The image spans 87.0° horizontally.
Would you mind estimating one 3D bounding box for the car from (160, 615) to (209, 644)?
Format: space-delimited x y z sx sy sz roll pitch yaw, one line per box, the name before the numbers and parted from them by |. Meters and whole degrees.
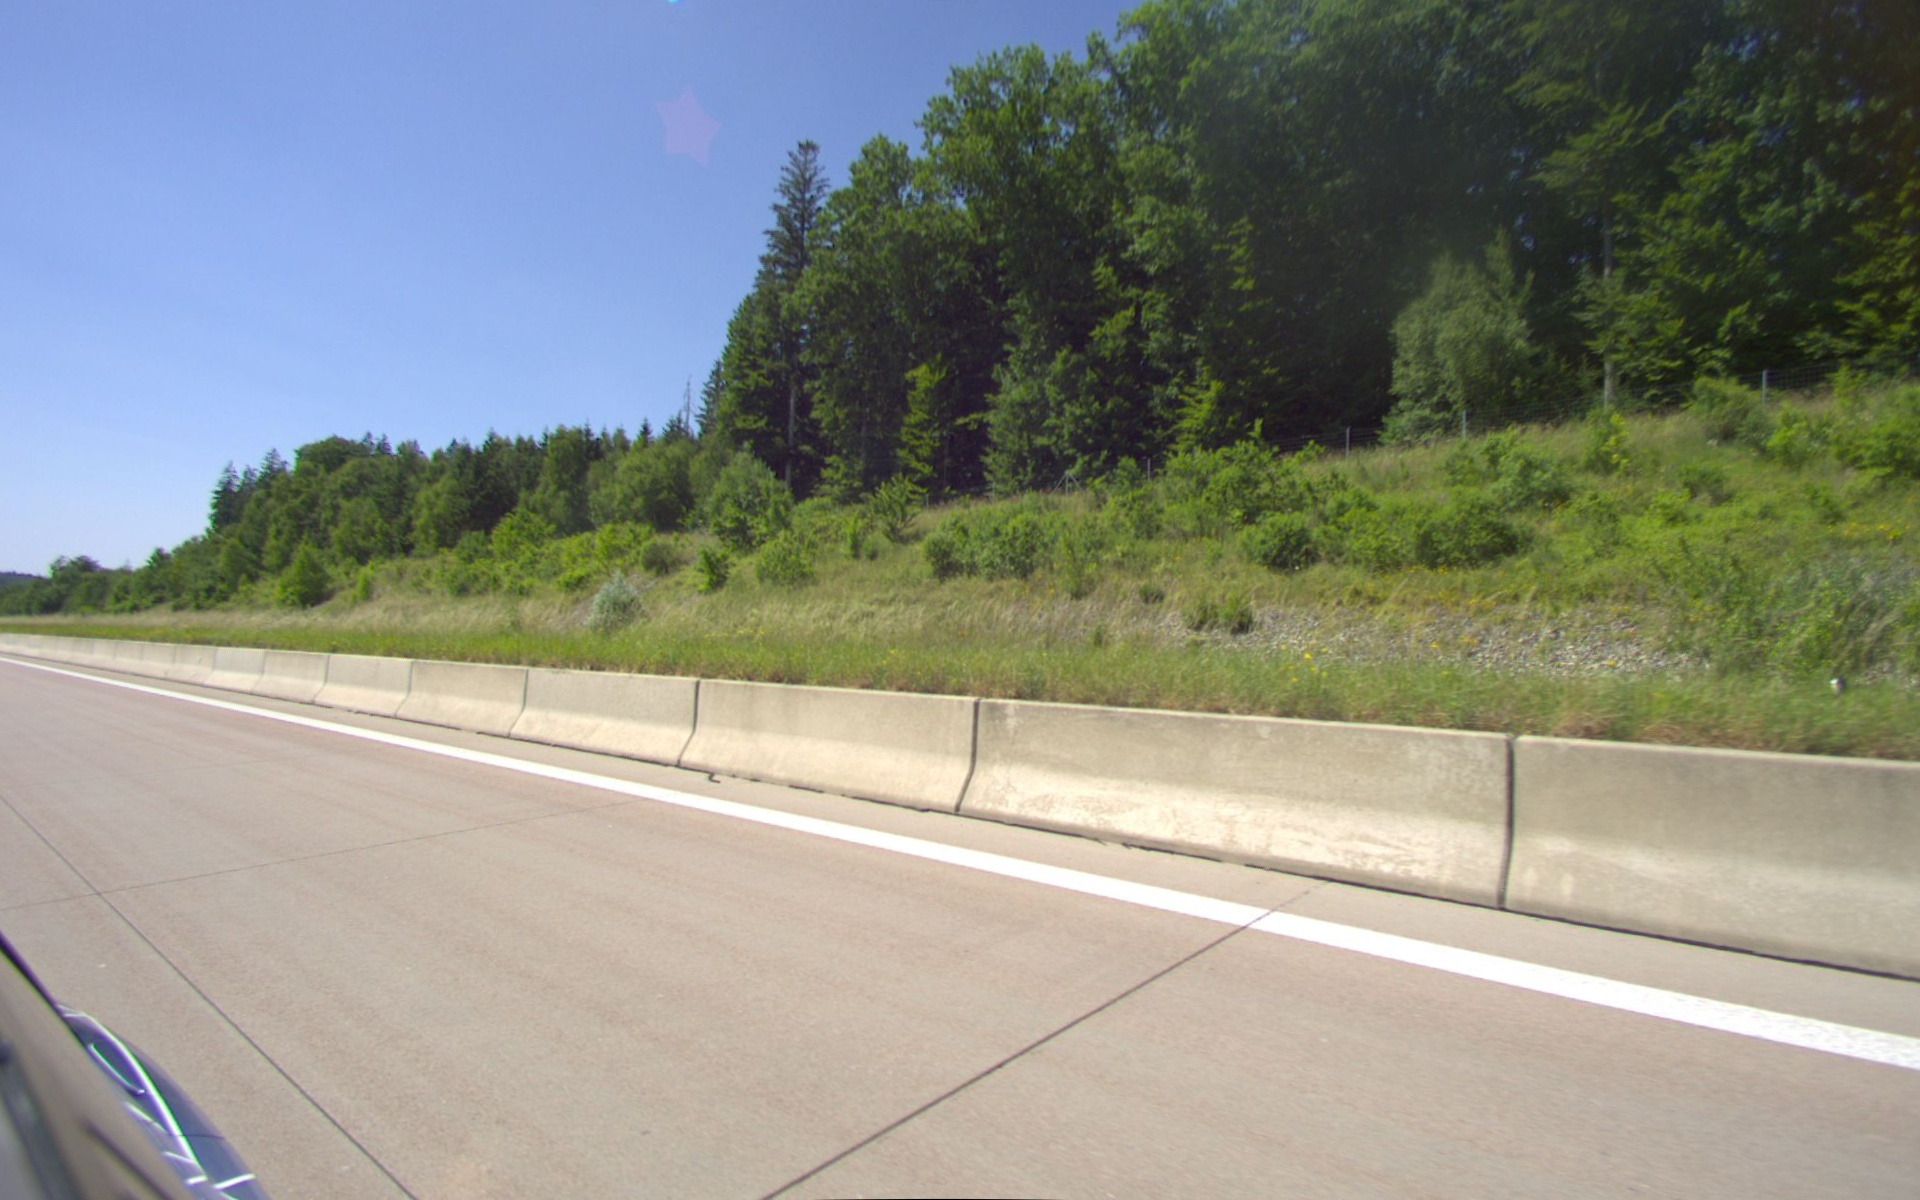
car | -57.525 2.218 75.070 4.658 2.080 1.872 -2 -2 39
